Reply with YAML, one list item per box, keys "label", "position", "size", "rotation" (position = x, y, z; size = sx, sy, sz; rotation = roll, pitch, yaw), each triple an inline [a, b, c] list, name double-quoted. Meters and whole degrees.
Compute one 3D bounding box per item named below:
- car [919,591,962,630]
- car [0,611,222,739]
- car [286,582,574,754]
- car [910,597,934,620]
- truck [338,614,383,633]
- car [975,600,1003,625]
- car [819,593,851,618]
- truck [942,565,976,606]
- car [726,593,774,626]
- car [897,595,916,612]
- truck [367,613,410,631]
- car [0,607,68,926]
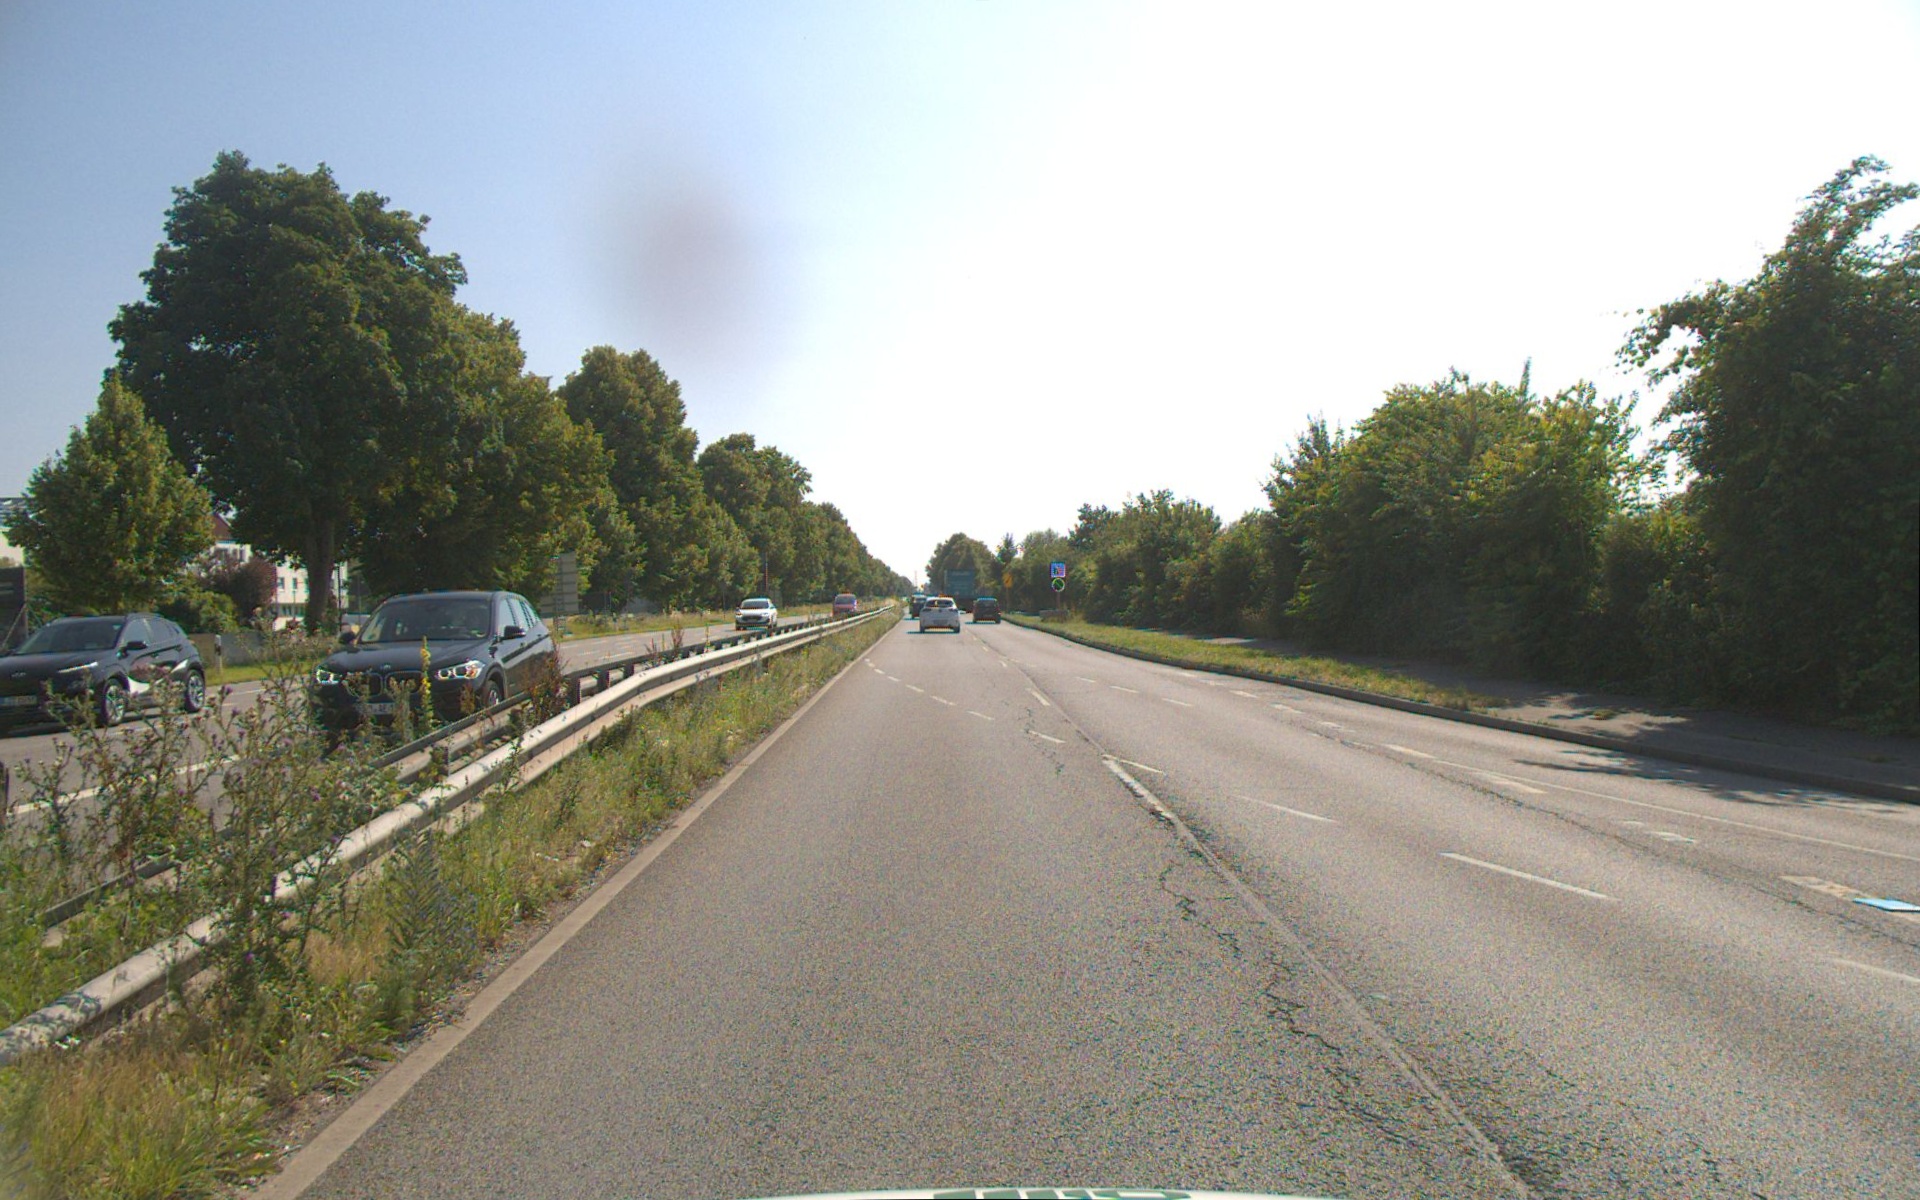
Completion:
- label: "car"
  position: [-0.807, 0.421, 70.047]
  size: [1.762, 1.580, 4.000]
  rotation: [0, 1, 0]
- label: "car"
  position: [-12.568, 1.033, 24.021]
  size: [1.810, 1.581, 4.086]
  rotation: [-4, 0, -1]
- label: "car"
  position: [-5.694, 0.661, 18.399]
  size: [1.809, 1.622, 4.615]
  rotation: [-1, 0, -2]
- label: "car"
  position: [-2.526, 0.529, 109.710]
  size: [1.540, 1.439, 3.277]
  rotation: [-2, 0, -1]
- label: "truck"
  position: [-67.804, 2.623, 187.088]
  size: [4.410, 2.049, 2.052]
  rotation: [-1, 0, -2]
- label: "car"
  position: [1.676, 0.728, 97.088]
  size: [1.540, 1.439, 3.277]
  rotation: [-1, -1, -1]
- label: "car"
  position: [-8.194, 0.348, 108.786]
  size: [1.874, 1.528, 4.089]
  rotation: [-2, 0, -2]
- label: "truck"
  position: [-0.124, -1.269, 148.551]
  size: [2.833, 3.488, 9.167]
  rotation: [-2, 0, -1]
- label: "car"
  position: [-10.286, 0.447, 81.336]
  size: [1.953, 1.528, 4.089]
  rotation: [-2, 0, -2]
- label: "car"
  position: [-4.671, 0.276, 145.562]
  size: [1.540, 1.439, 3.277]
  rotation: [-2, 0, -1]
- label: "truck"
  position: [-67.609, 2.651, 195.711]
  size: [4.410, 2.049, 2.052]
  rotation: [-1, 0, -2]
- label: "car"
  position: [-5.408, 0.831, 5.990]
  size: [1.780, 1.511, 4.892]
  rotation: [-2, 0, -2]
